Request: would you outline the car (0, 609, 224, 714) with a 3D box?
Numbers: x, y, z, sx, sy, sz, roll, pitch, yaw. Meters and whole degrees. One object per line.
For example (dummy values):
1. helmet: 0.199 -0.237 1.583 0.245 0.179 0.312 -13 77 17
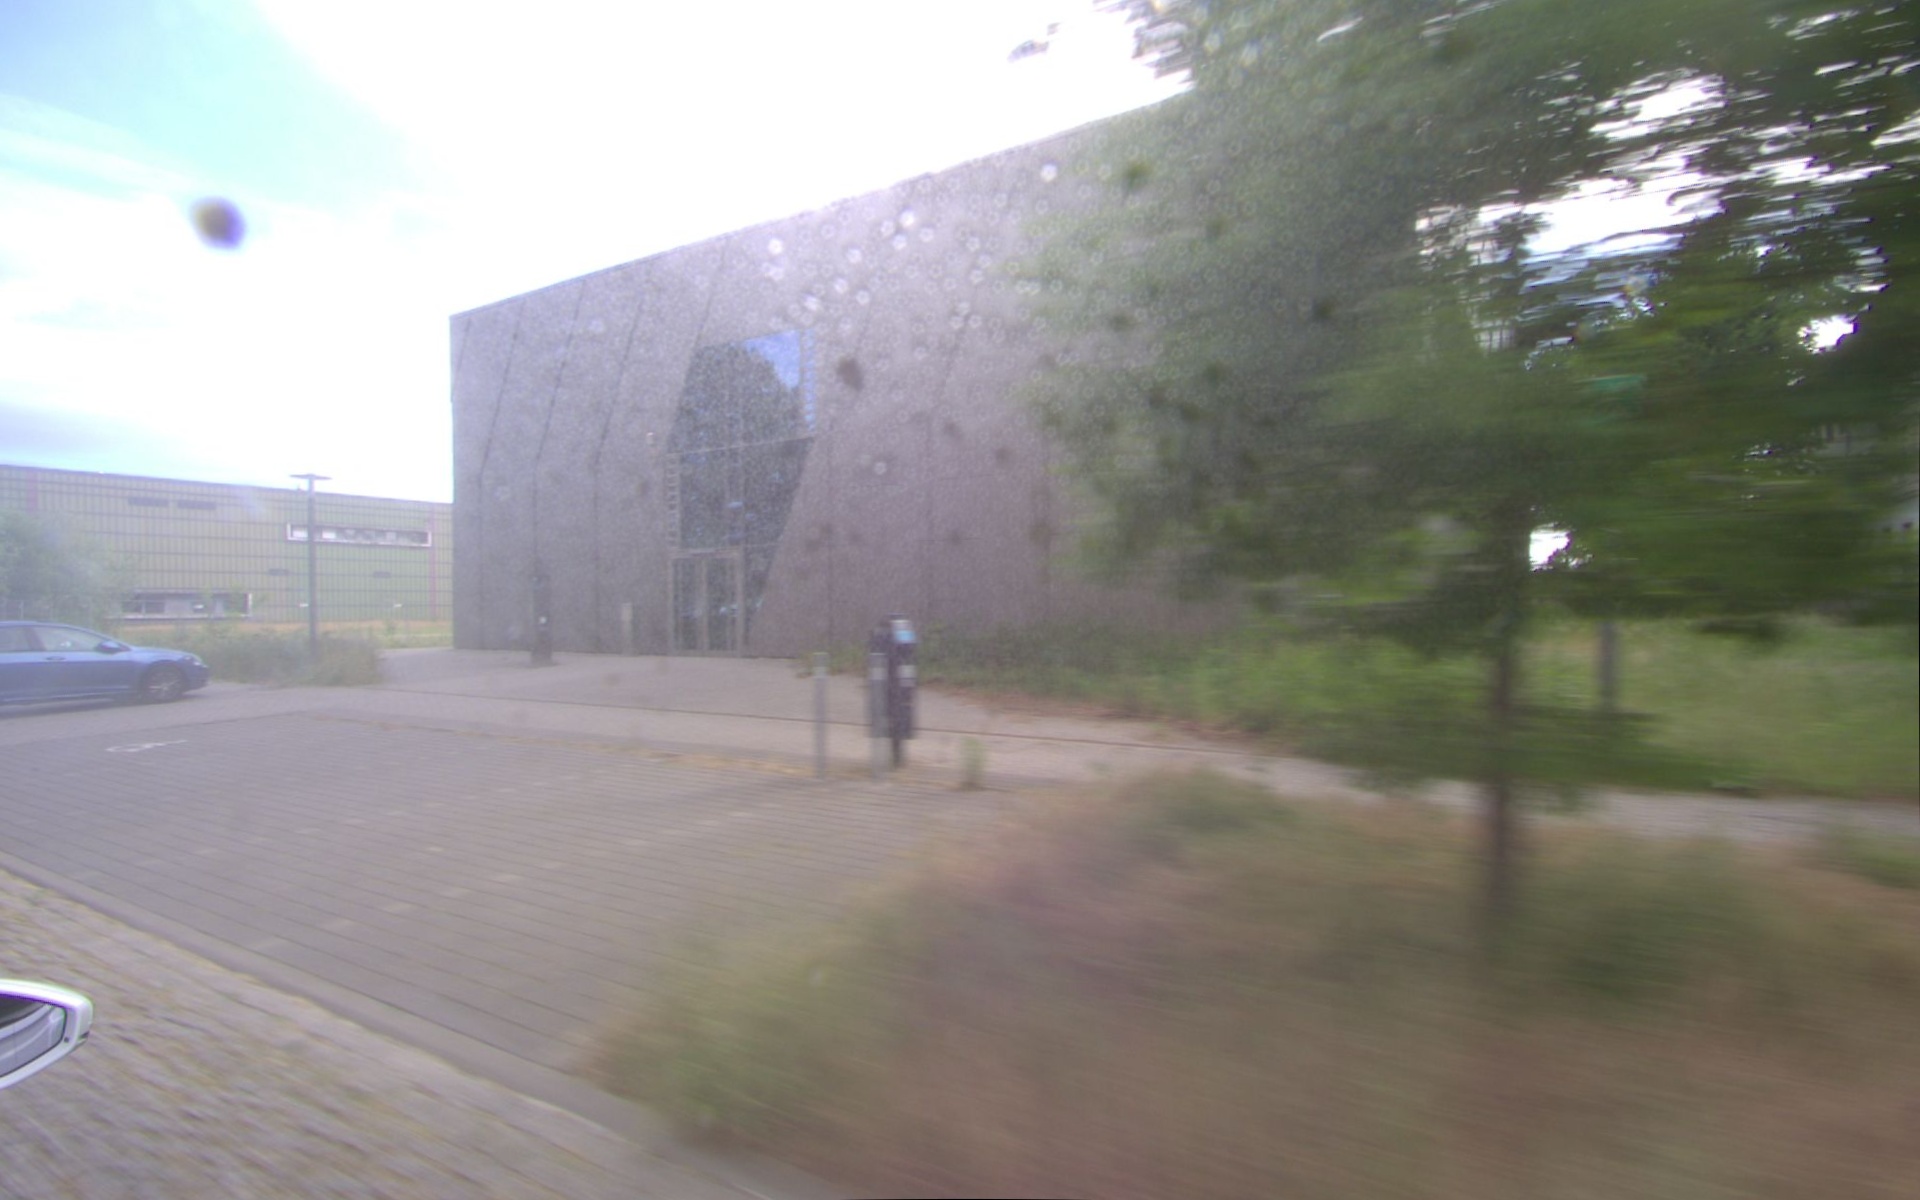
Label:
1. car: -14.867 0.961 16.096 1.796 1.463 4.514 0 2 29
